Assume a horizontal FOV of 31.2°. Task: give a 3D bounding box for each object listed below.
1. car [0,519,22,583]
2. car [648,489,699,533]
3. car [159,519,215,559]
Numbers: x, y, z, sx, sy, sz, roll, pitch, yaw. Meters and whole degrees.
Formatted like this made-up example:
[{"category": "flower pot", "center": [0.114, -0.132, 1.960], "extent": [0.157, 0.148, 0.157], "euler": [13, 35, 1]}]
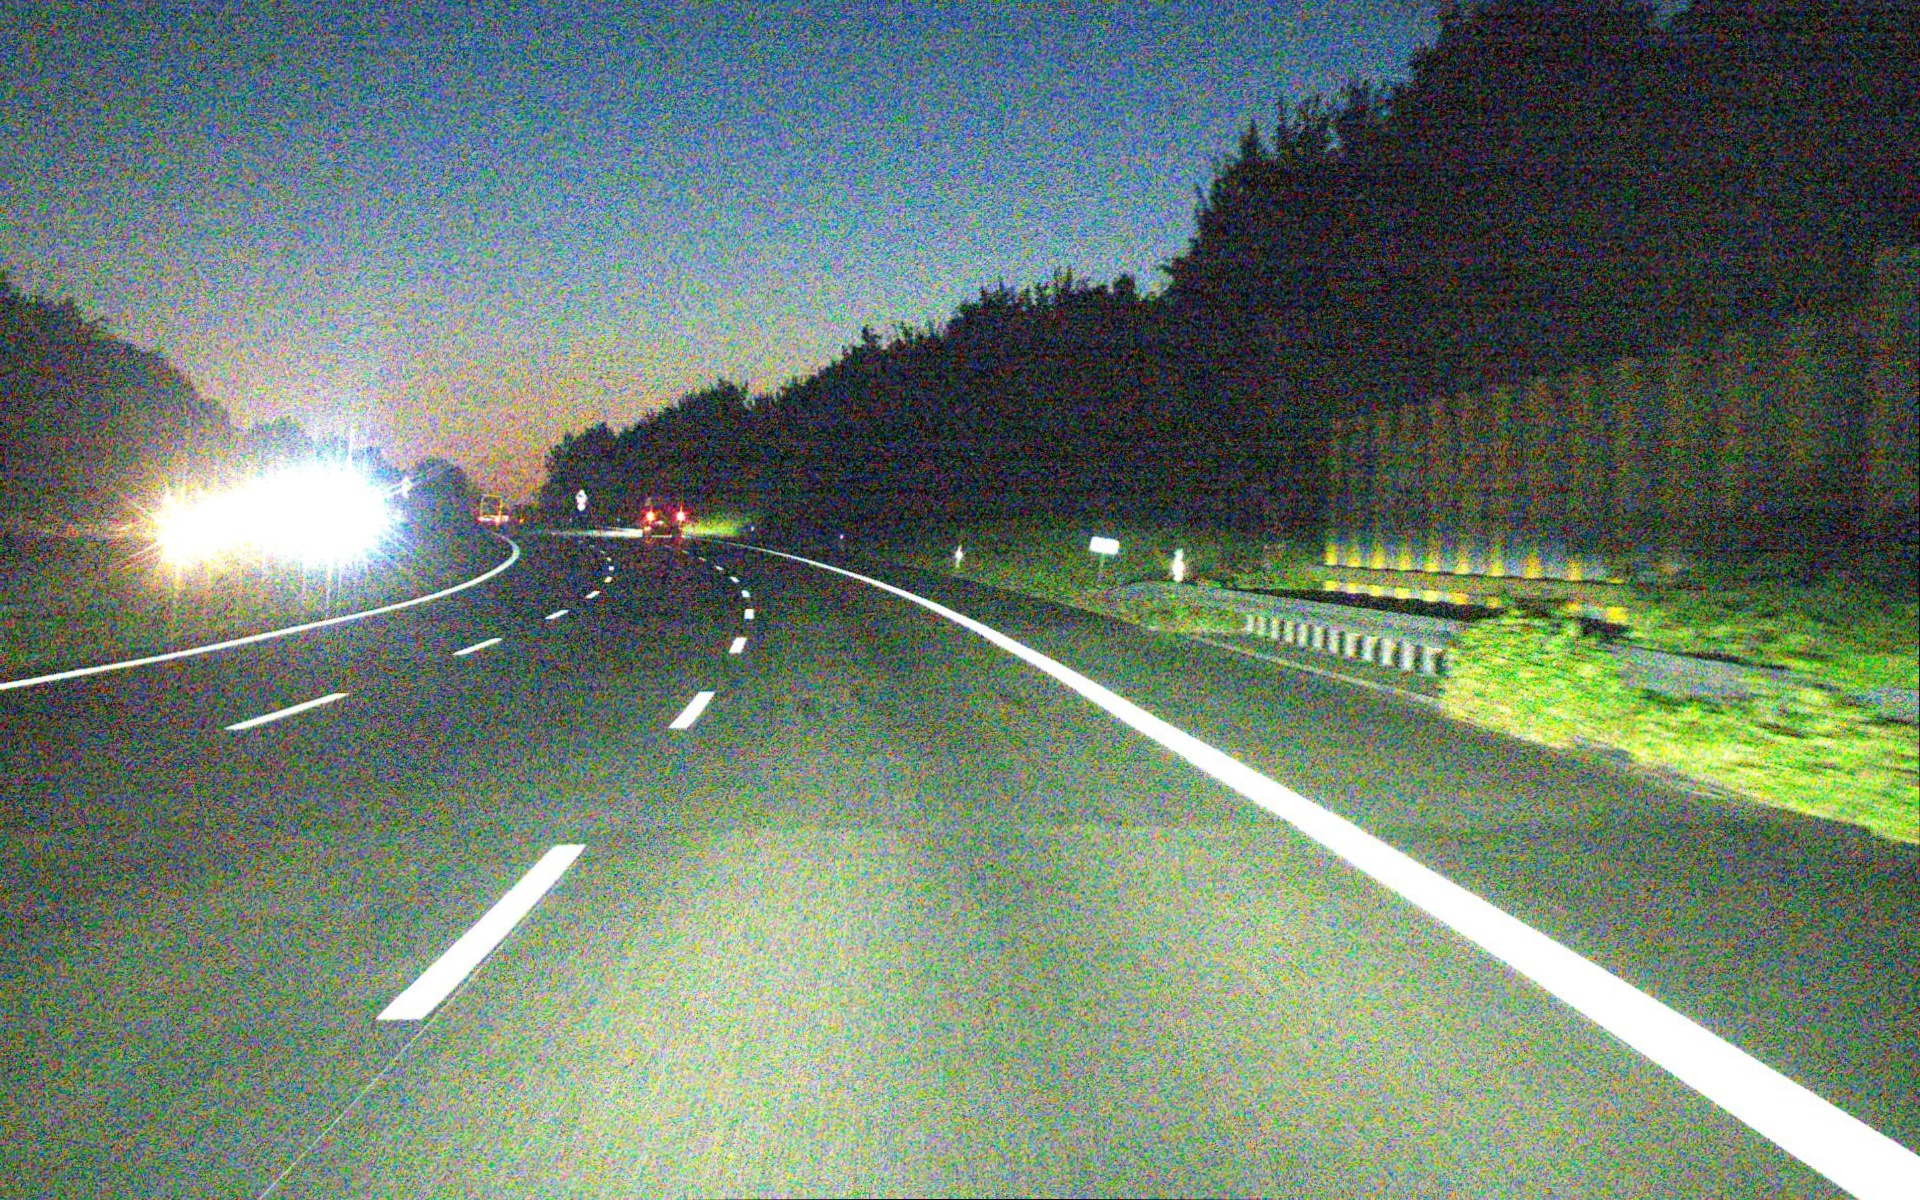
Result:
[{"category": "car", "center": [-29.442, -1.453, 101.678], "extent": [2.397, 1.869, 4.513], "euler": [0, 1, -4]}, {"category": "car", "center": [-17.292, -5.349, 206.983], "extent": [2.527, 2.544, 6.053], "euler": [2, 1, -9]}, {"category": "car", "center": [-34.413, -2.737, 153.051], "extent": [1.993, 1.720, 4.078], "euler": [0, 2, -6]}]
